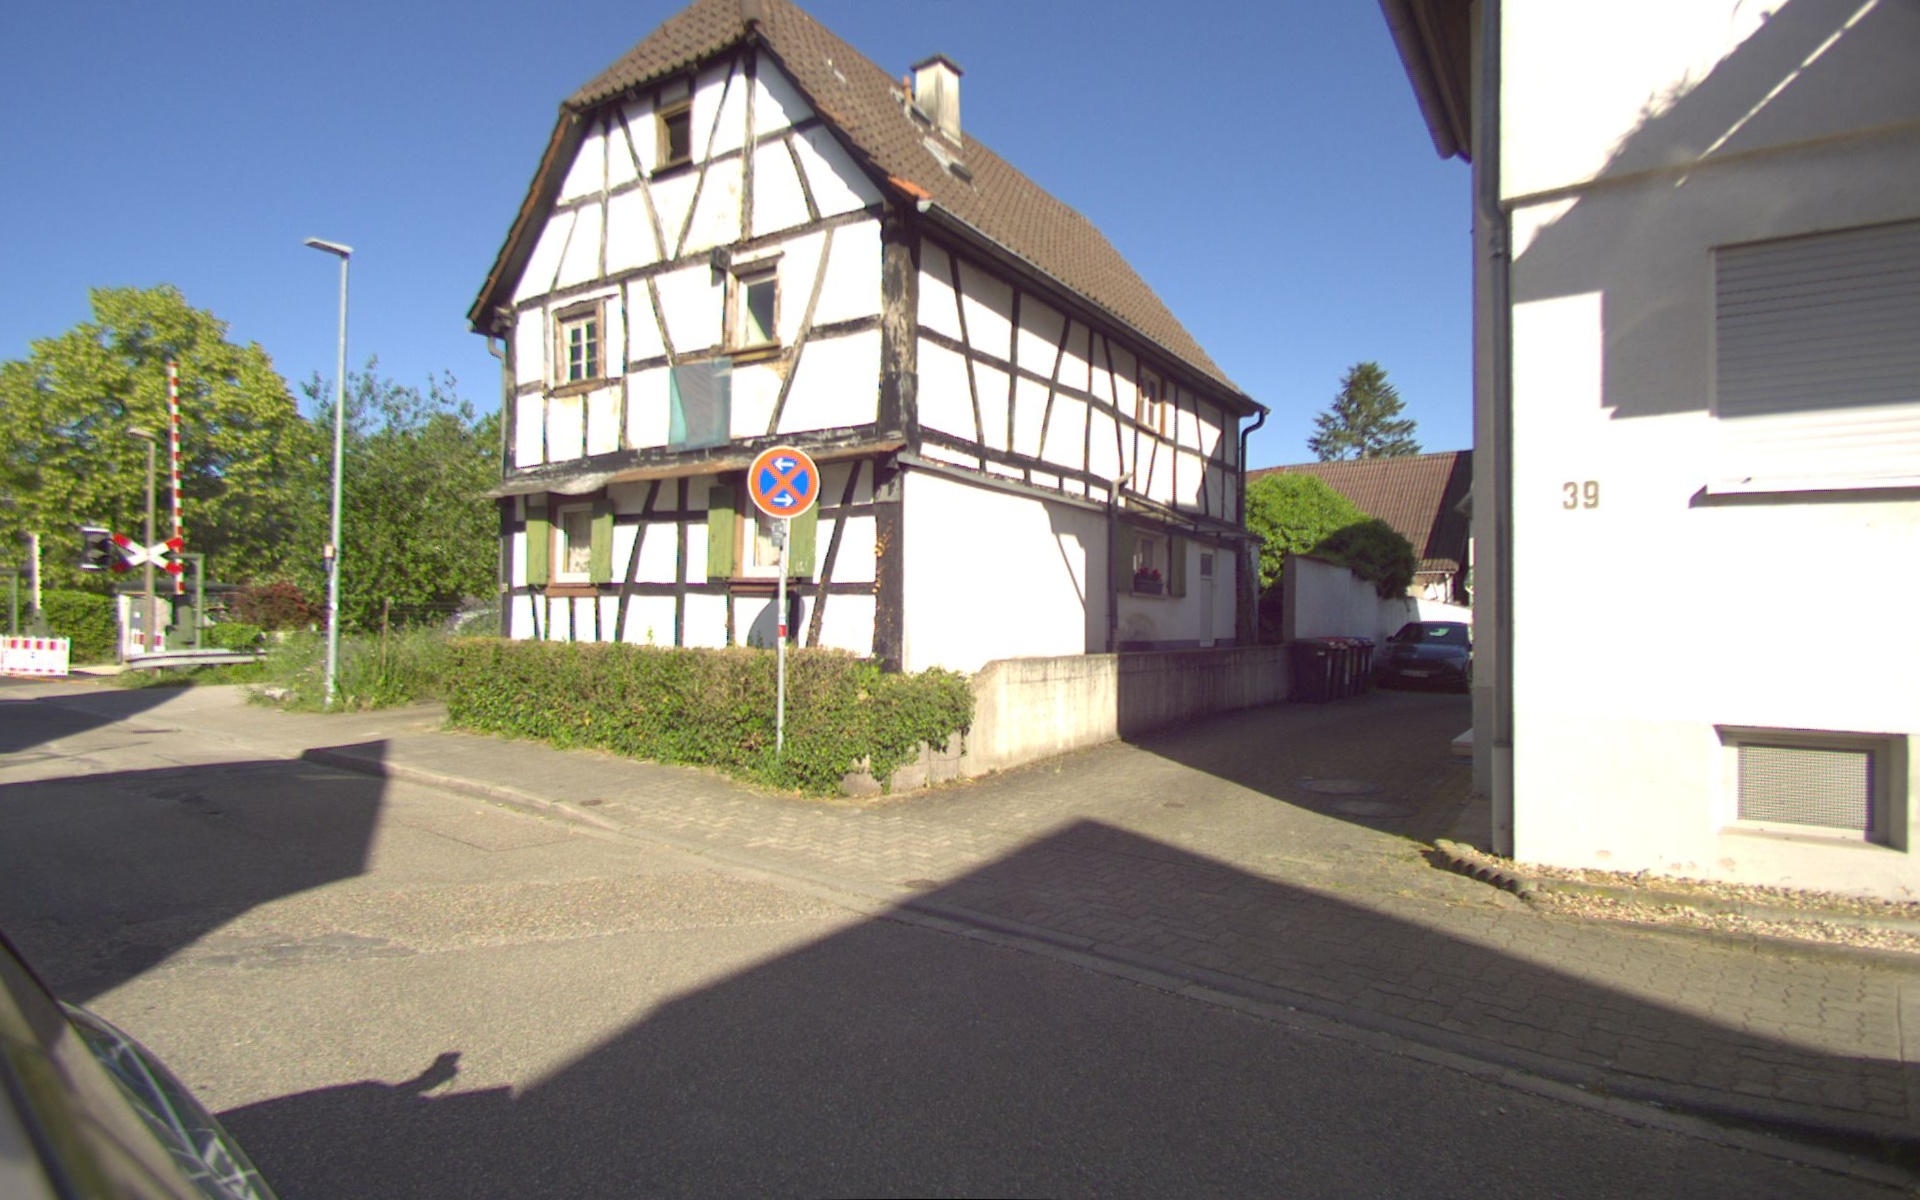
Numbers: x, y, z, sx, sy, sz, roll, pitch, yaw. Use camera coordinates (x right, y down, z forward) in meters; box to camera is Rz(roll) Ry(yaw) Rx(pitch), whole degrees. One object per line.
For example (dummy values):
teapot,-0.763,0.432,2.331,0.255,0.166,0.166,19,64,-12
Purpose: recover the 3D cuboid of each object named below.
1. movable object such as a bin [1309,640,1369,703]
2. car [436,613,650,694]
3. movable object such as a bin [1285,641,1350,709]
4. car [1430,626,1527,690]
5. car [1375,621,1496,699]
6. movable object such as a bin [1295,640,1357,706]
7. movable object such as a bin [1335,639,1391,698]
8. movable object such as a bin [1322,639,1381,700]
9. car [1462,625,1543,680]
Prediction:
movable object such as a bin,6.806,1.268,18.170,0.831,1.046,0.676,1,1,40
car,-8.811,1.104,21.652,3.937,1.576,1.692,0,1,-7
movable object such as a bin,5.968,1.232,16.877,0.831,1.046,0.676,1,1,40
car,13.225,1.421,25.711,1.726,1.453,3.953,1,-2,34
car,10.150,1.217,21.463,1.726,1.453,3.953,1,-2,34
movable object such as a bin,6.361,1.255,17.577,0.831,1.046,0.676,1,1,40
movable object such as a bin,7.700,1.301,19.344,0.831,1.046,0.676,1,1,40
movable object such as a bin,7.270,1.281,18.798,0.831,1.046,0.676,1,1,40
car,16.015,1.521,29.783,1.726,1.453,3.953,1,-2,34
